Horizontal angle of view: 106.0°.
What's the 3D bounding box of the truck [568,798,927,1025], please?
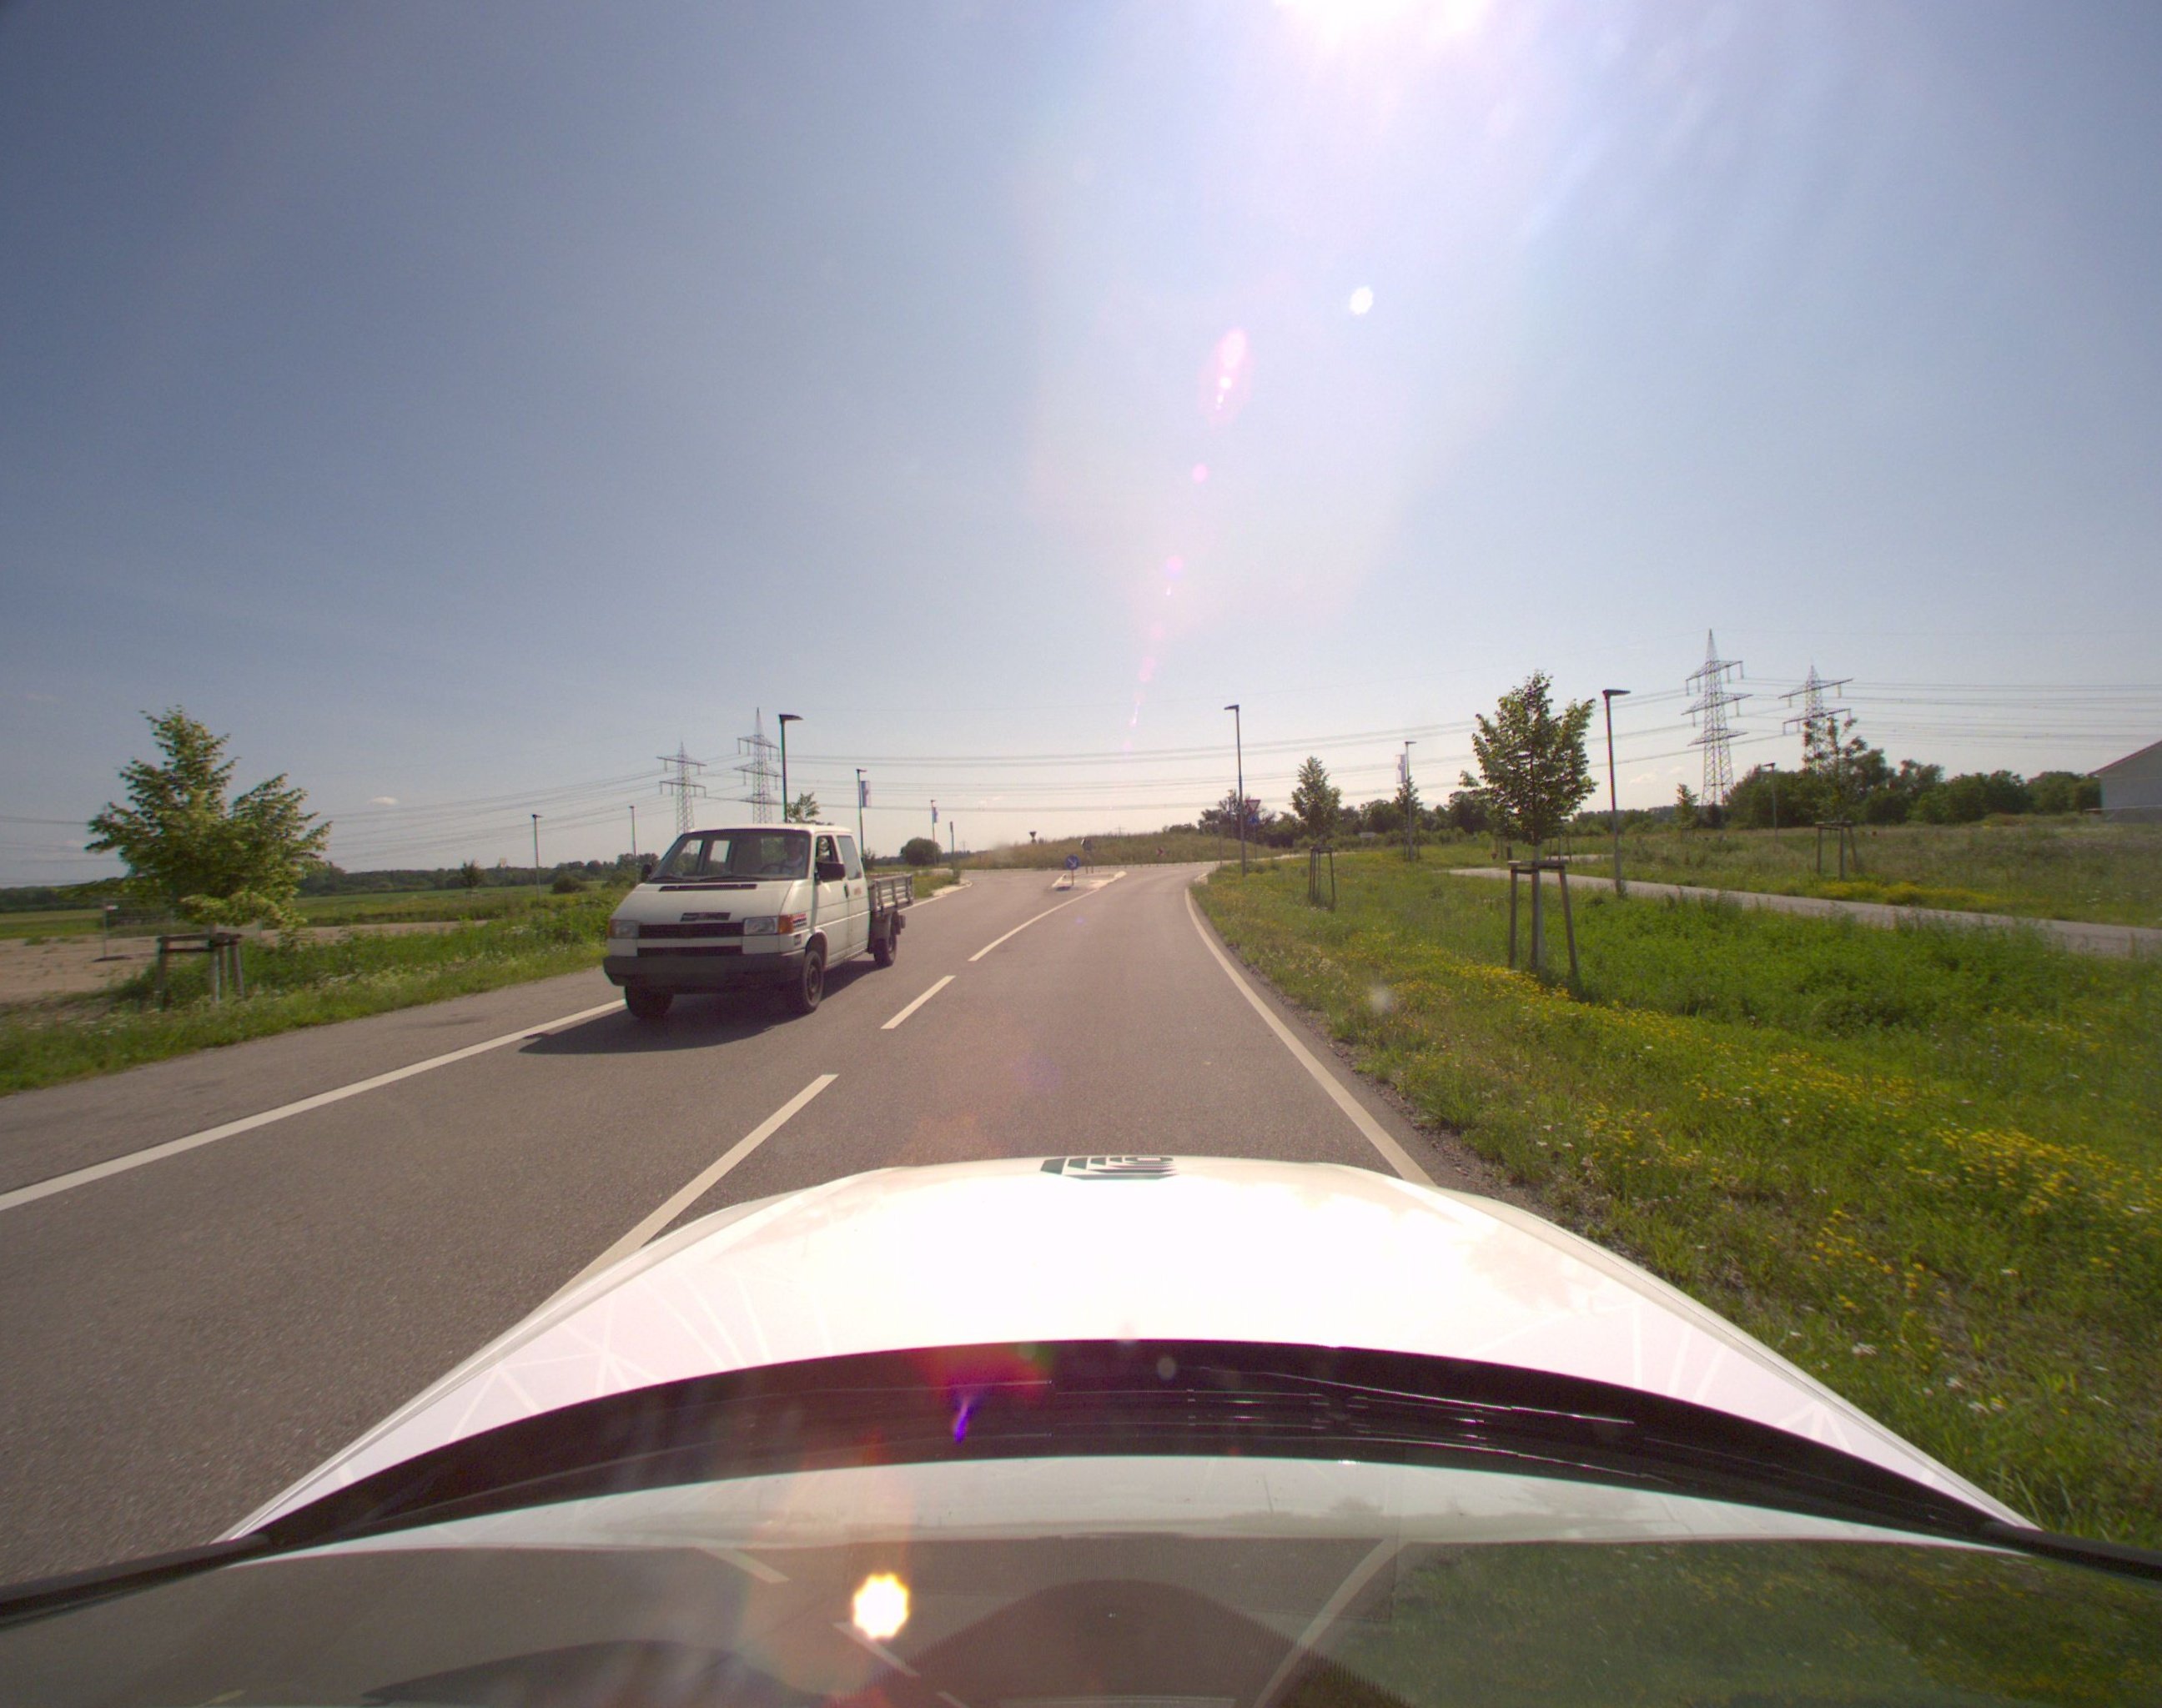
[{"bbox_3d":[-3.512,0.490,10.091,1.944,1.984,5.646,-1,0,1],"label":"truck"}]
